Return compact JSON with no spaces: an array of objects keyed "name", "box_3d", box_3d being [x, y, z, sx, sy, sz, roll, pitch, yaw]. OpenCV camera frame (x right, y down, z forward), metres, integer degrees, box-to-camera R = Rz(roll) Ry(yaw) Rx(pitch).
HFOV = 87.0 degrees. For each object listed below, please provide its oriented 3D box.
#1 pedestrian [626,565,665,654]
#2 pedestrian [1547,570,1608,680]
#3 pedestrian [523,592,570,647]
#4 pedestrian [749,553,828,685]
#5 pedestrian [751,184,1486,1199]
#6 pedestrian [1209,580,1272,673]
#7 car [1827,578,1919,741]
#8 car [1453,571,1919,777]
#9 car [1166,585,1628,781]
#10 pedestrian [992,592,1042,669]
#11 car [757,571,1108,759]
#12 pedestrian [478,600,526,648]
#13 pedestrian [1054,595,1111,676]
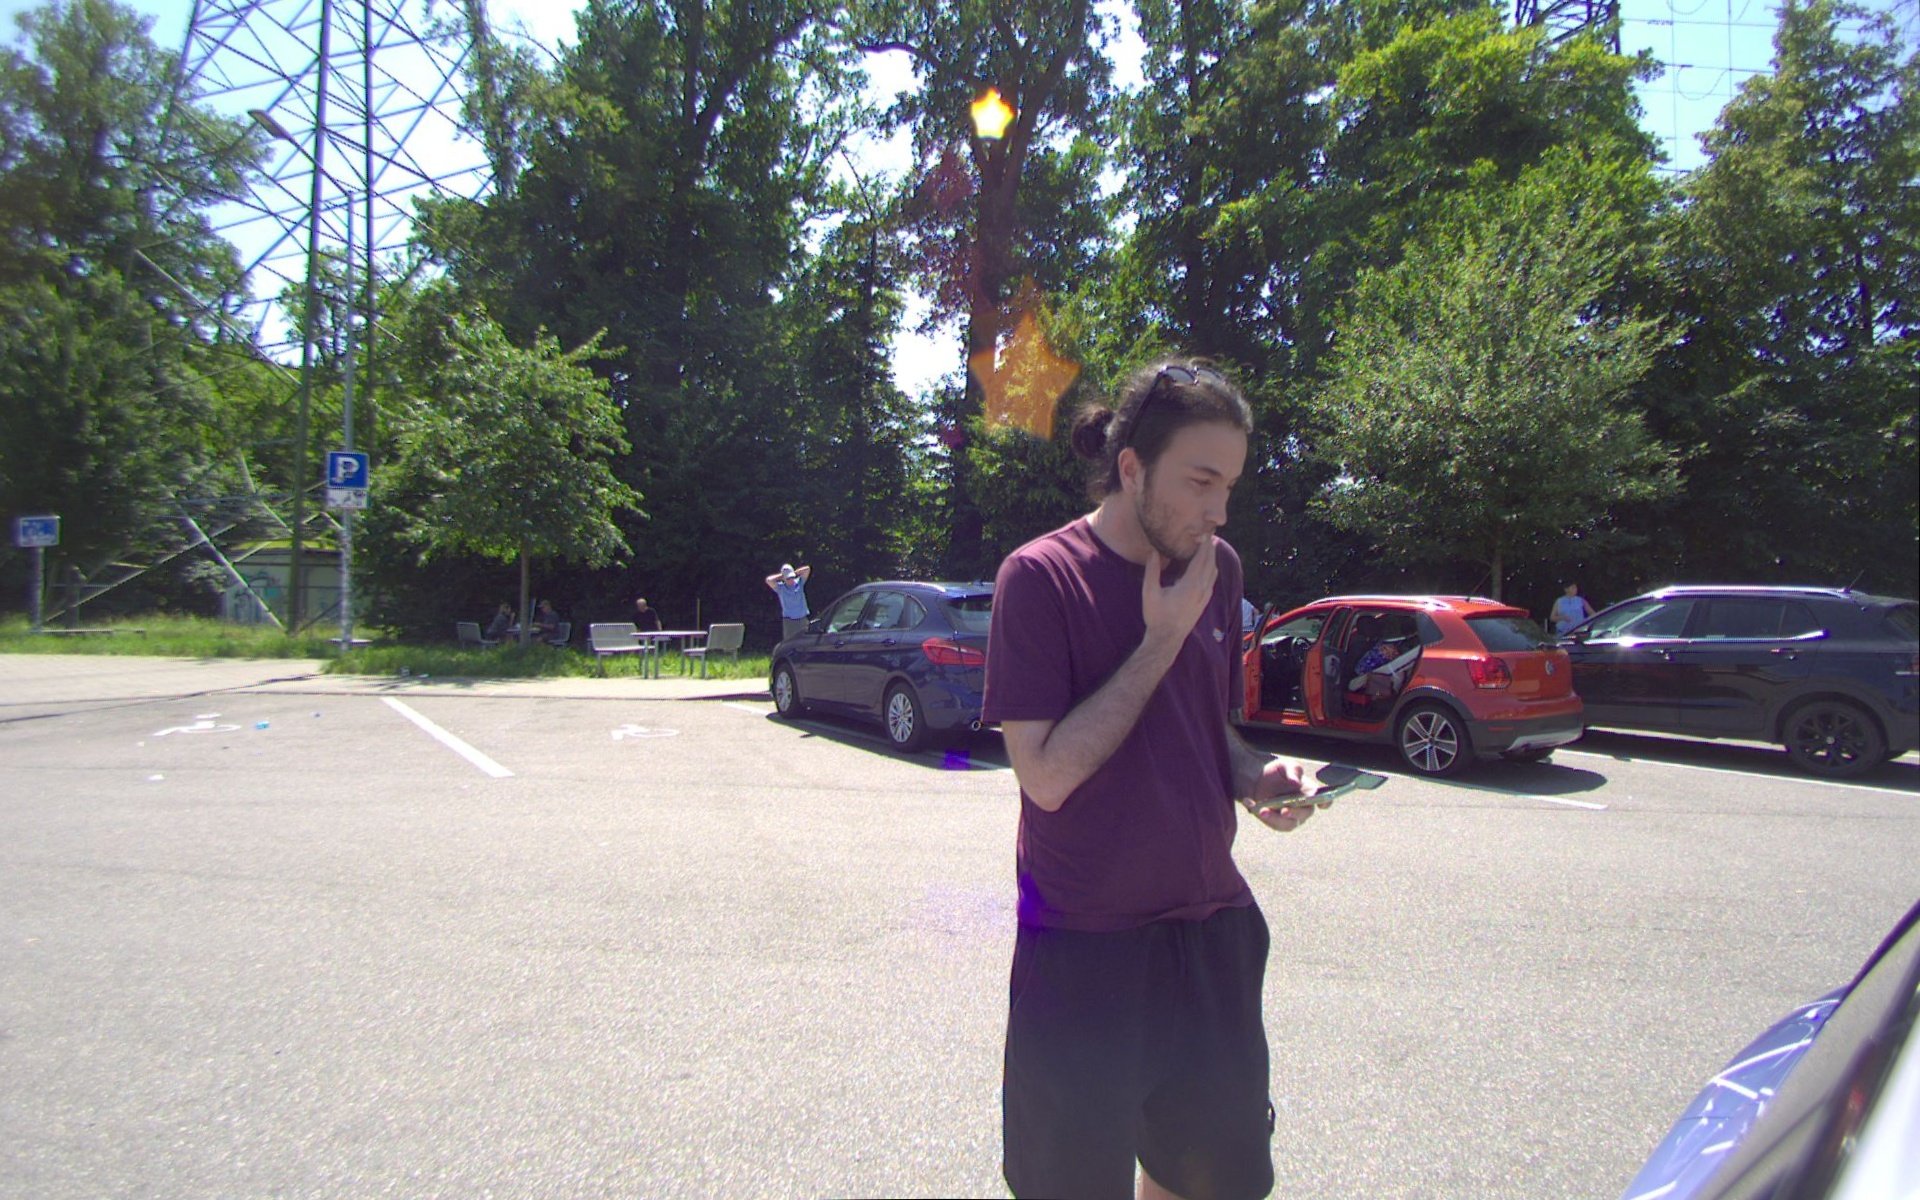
[{"name":"pedestrian","box_3d":[-6.687,0.200,21.573,0.700,1.851,0.906,1,-1,-12]},{"name":"pedestrian","box_3d":[9.383,0.362,15.404,0.708,1.614,0.802,0,-1,26]},{"name":"pedestrian","box_3d":[-9.647,0.438,23.632,0.796,1.253,0.713,1,-1,-44]},{"name":"pedestrian","box_3d":[-2.405,0.255,14.216,0.786,1.784,0.809,1,-1,-39]},{"name":"pedestrian","box_3d":[0.281,0.456,1.697,0.828,1.797,0.926,0,-1,45]},{"name":"pedestrian","box_3d":[4.978,0.459,18.000,0.759,1.614,0.811,1,-1,-16]},{"name":"car","box_3d":[10.901,0.599,9.429,1.745,1.612,3.972,1,0,-32]},{"name":"car","box_3d":[7.207,0.575,9.838,1.807,1.612,3.967,1,0,-38]},{"name":"car","box_3d":[3.926,0.620,9.651,1.746,1.475,3.710,1,0,-33]},{"name":"pedestrian","box_3d":[0.979,0.516,17.388,0.656,1.285,0.655,1,-1,-17]},{"name":"car","box_3d":[-0.485,0.543,10.699,1.809,1.588,4.017,1,0,-35]},{"name":"pedestrian","box_3d":[-10.356,0.526,22.890,0.796,1.062,0.714,1,-1,-43]},{"name":"pedestrian","box_3d":[2.031,0.573,16.856,0.656,1.311,0.832,1,-1,-17]}]
